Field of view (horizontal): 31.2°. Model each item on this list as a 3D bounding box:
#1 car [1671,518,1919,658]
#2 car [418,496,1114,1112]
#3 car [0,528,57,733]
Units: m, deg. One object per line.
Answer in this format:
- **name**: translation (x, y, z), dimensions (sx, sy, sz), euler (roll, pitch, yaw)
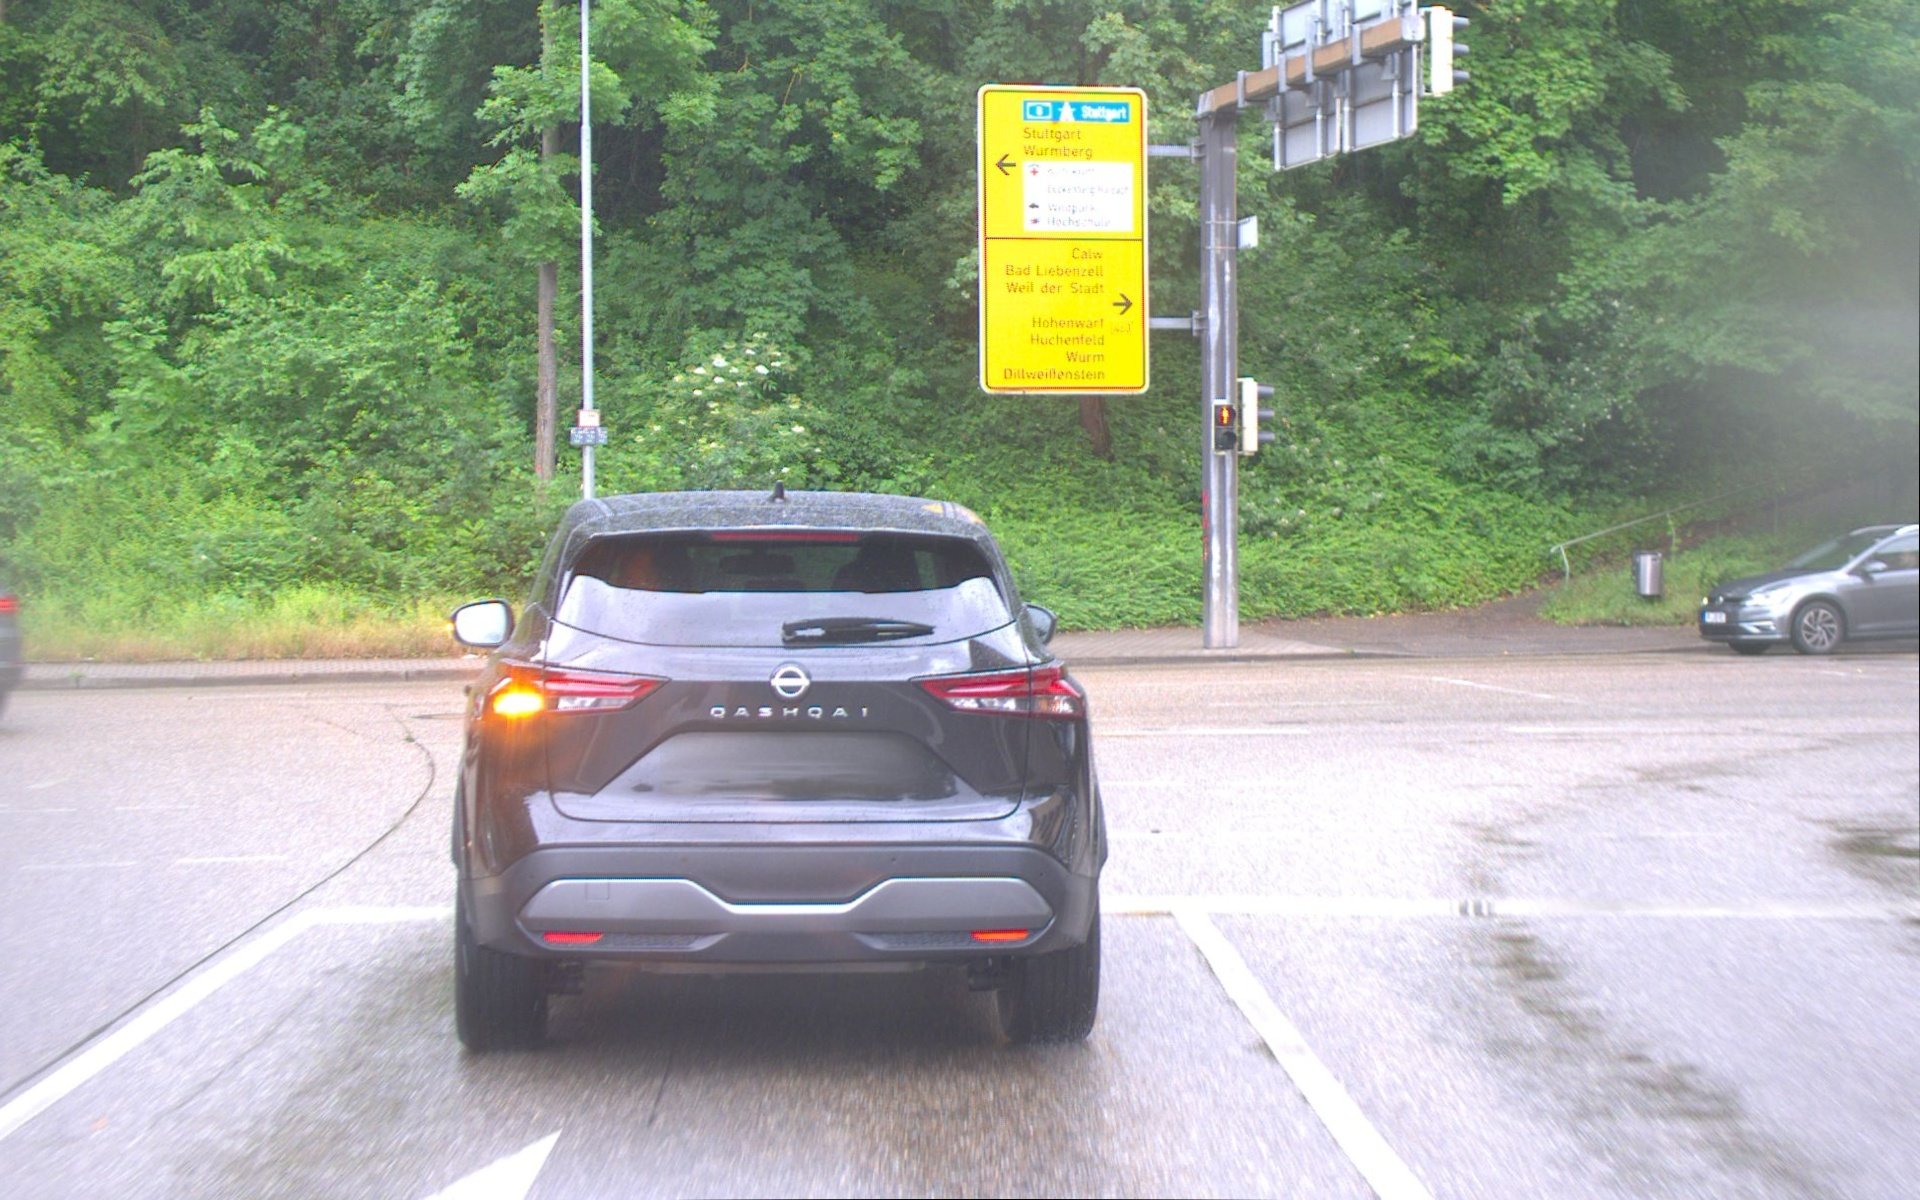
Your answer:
- **car**: translation (10.623, -0.180, 39.662), dimensions (4.323, 1.497, 1.884), euler (-2, 1, -12)
- **car**: translation (-0.652, 0.484, 10.959), dimensions (1.810, 1.597, 4.001), euler (0, 1, -4)
- **car**: translation (-9.330, 0.224, 27.698), dimensions (3.995, 1.597, 1.813), euler (1, 1, 35)
